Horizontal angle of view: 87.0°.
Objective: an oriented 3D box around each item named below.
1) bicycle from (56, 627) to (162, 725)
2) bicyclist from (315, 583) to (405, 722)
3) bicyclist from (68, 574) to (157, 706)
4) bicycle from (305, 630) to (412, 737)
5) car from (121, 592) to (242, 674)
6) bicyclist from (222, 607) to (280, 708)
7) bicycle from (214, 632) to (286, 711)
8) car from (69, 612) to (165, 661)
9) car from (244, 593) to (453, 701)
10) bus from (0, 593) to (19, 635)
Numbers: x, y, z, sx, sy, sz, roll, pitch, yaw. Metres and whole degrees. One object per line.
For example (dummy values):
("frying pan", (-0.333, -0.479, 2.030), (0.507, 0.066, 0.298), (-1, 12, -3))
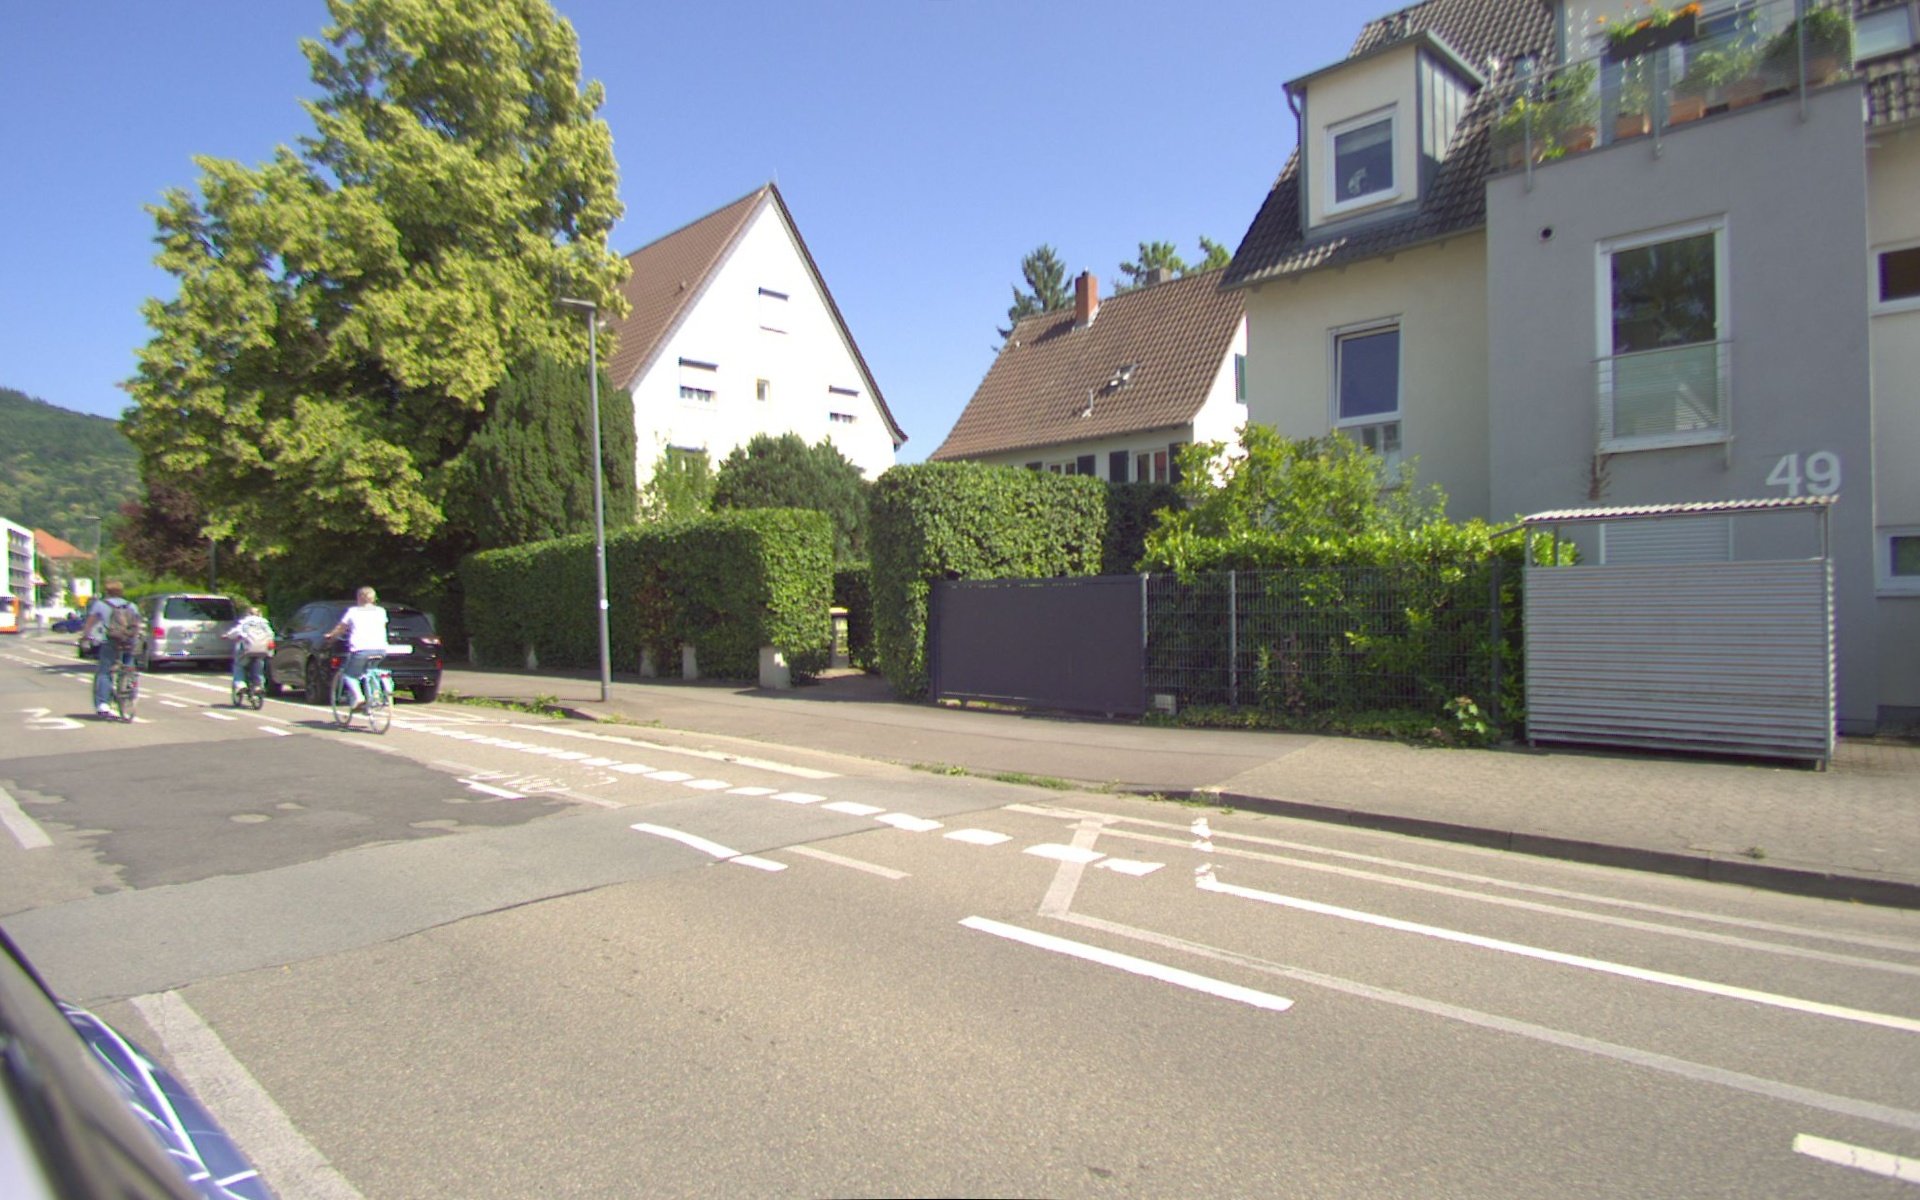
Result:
("bicycle", (-11.527, 0.974, 13.678), (2.420, 1.175, 0.774), (0, -2, 43))
("bicyclist", (-7.205, 0.613, 12.154), (0.859, 1.592, 0.668), (0, -2, 42))
("bicyclist", (-11.331, 0.516, 13.529), (1.022, 1.680, 0.741), (0, -2, 42))
("bicycle", (-7.307, 0.970, 12.249), (2.035, 1.194, 0.553), (-2, -2, 43))
("car", (-20.366, 0.828, 26.396), (1.863, 1.934, 4.871), (2, -2, -45))
("bicyclist", (-10.649, 0.841, 15.203), (0.964, 1.465, 0.485), (0, -2, 43))
("bicycle", (-10.718, 1.055, 15.260), (1.346, 1.113, 0.594), (0, -2, 43))
("car", (-27.739, 1.194, 33.255), (4.561, 1.497, 1.813), (-1, -3, 42))
("car", (-10.563, 0.765, 17.354), (4.447, 1.623, 1.831), (-1, -3, 42))
("bus", (-77.041, 1.096, 80.704), (2.713, 3.198, 9.786), (2, -2, -44))
